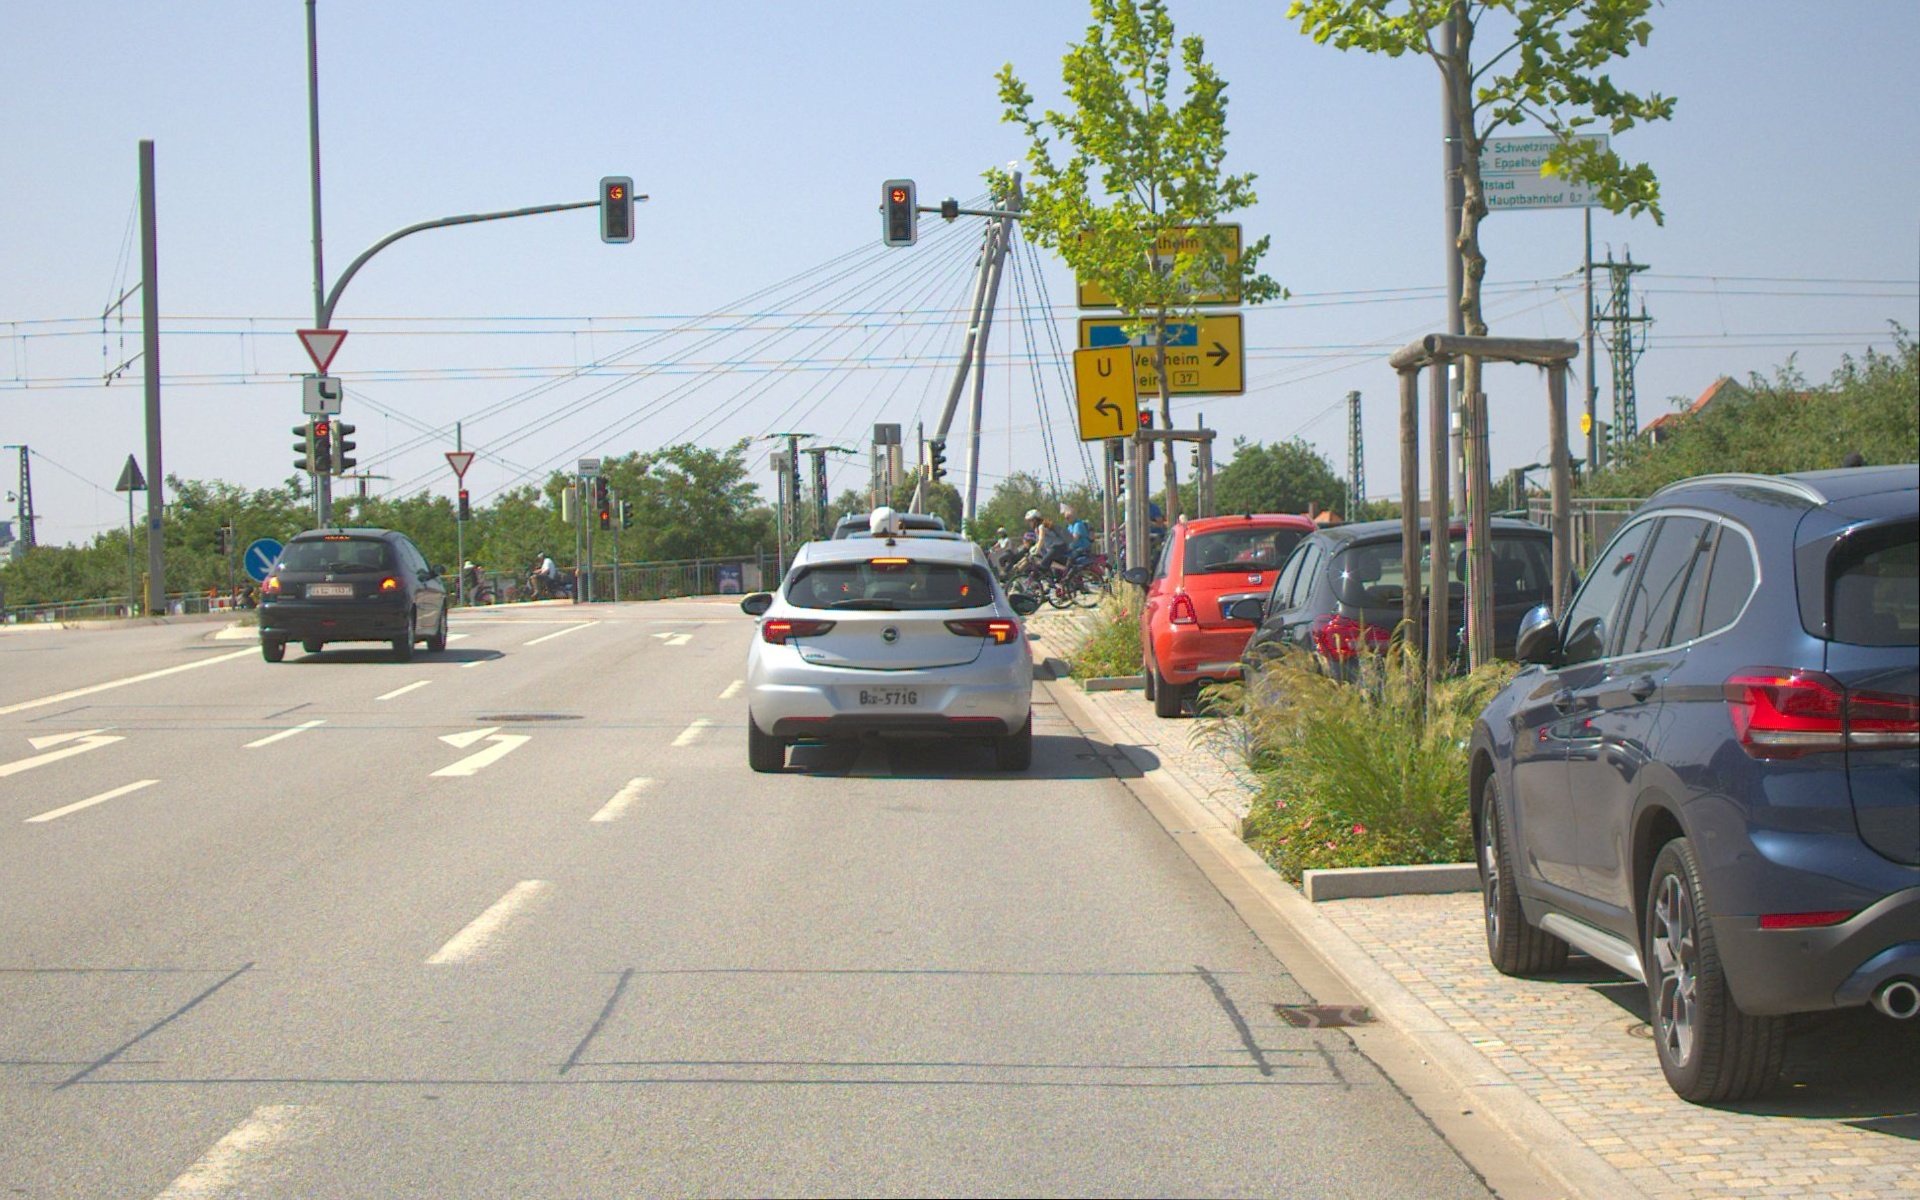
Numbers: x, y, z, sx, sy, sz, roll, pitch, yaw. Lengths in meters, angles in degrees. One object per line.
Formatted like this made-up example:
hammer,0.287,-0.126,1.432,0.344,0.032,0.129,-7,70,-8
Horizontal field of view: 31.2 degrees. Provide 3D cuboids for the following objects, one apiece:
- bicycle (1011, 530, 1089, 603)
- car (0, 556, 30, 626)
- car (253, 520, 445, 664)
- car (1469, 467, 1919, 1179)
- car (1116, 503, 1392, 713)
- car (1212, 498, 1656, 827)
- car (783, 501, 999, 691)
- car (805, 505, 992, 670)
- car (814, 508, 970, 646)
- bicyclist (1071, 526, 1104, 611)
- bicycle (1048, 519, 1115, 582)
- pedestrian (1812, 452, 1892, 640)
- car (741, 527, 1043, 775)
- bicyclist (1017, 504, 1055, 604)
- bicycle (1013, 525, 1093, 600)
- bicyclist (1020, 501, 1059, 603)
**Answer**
bicycle,1.488,-0.547,56.882,1.239,1.193,0.482,0,-1,-6
car,-26.110,-0.225,87.964,3.989,1.766,1.999,0,-1,13
car,-6.796,-0.128,38.545,1.619,1.411,3.728,-2,2,-3
car,2.634,0.444,9.679,1.822,1.611,3.611,-3,1,1
car,2.279,0.034,27.571,1.778,1.498,4.000,-2,1,-1
car,2.530,0.287,19.296,1.778,1.498,4.000,-5,1,0
car,-0.598,-0.083,30.861,1.778,1.563,4.000,-1,1,-1
car,-0.617,-0.169,35.314,1.778,1.563,4.000,-1,1,-1
car,-0.809,-0.321,41.908,1.778,1.563,4.000,-1,1,-1
bicyclist,2.476,-0.617,66.885,0.592,1.638,0.313,0,-1,-6
bicycle,2.368,-0.963,66.894,1.239,1.193,0.482,0,-1,-6
pedestrian,7.515,-0.449,28.963,0.533,1.570,0.524,0,-1,0
car,-0.430,0.264,22.604,1.778,1.437,4.000,-1,1,-1
bicyclist,1.256,-0.763,56.898,0.592,1.638,0.313,0,-1,-6
bicycle,1.513,-0.610,55.957,1.239,1.193,0.482,0,-1,-6
bicyclist,1.295,-0.777,55.861,0.592,1.638,0.313,0,-1,-6
